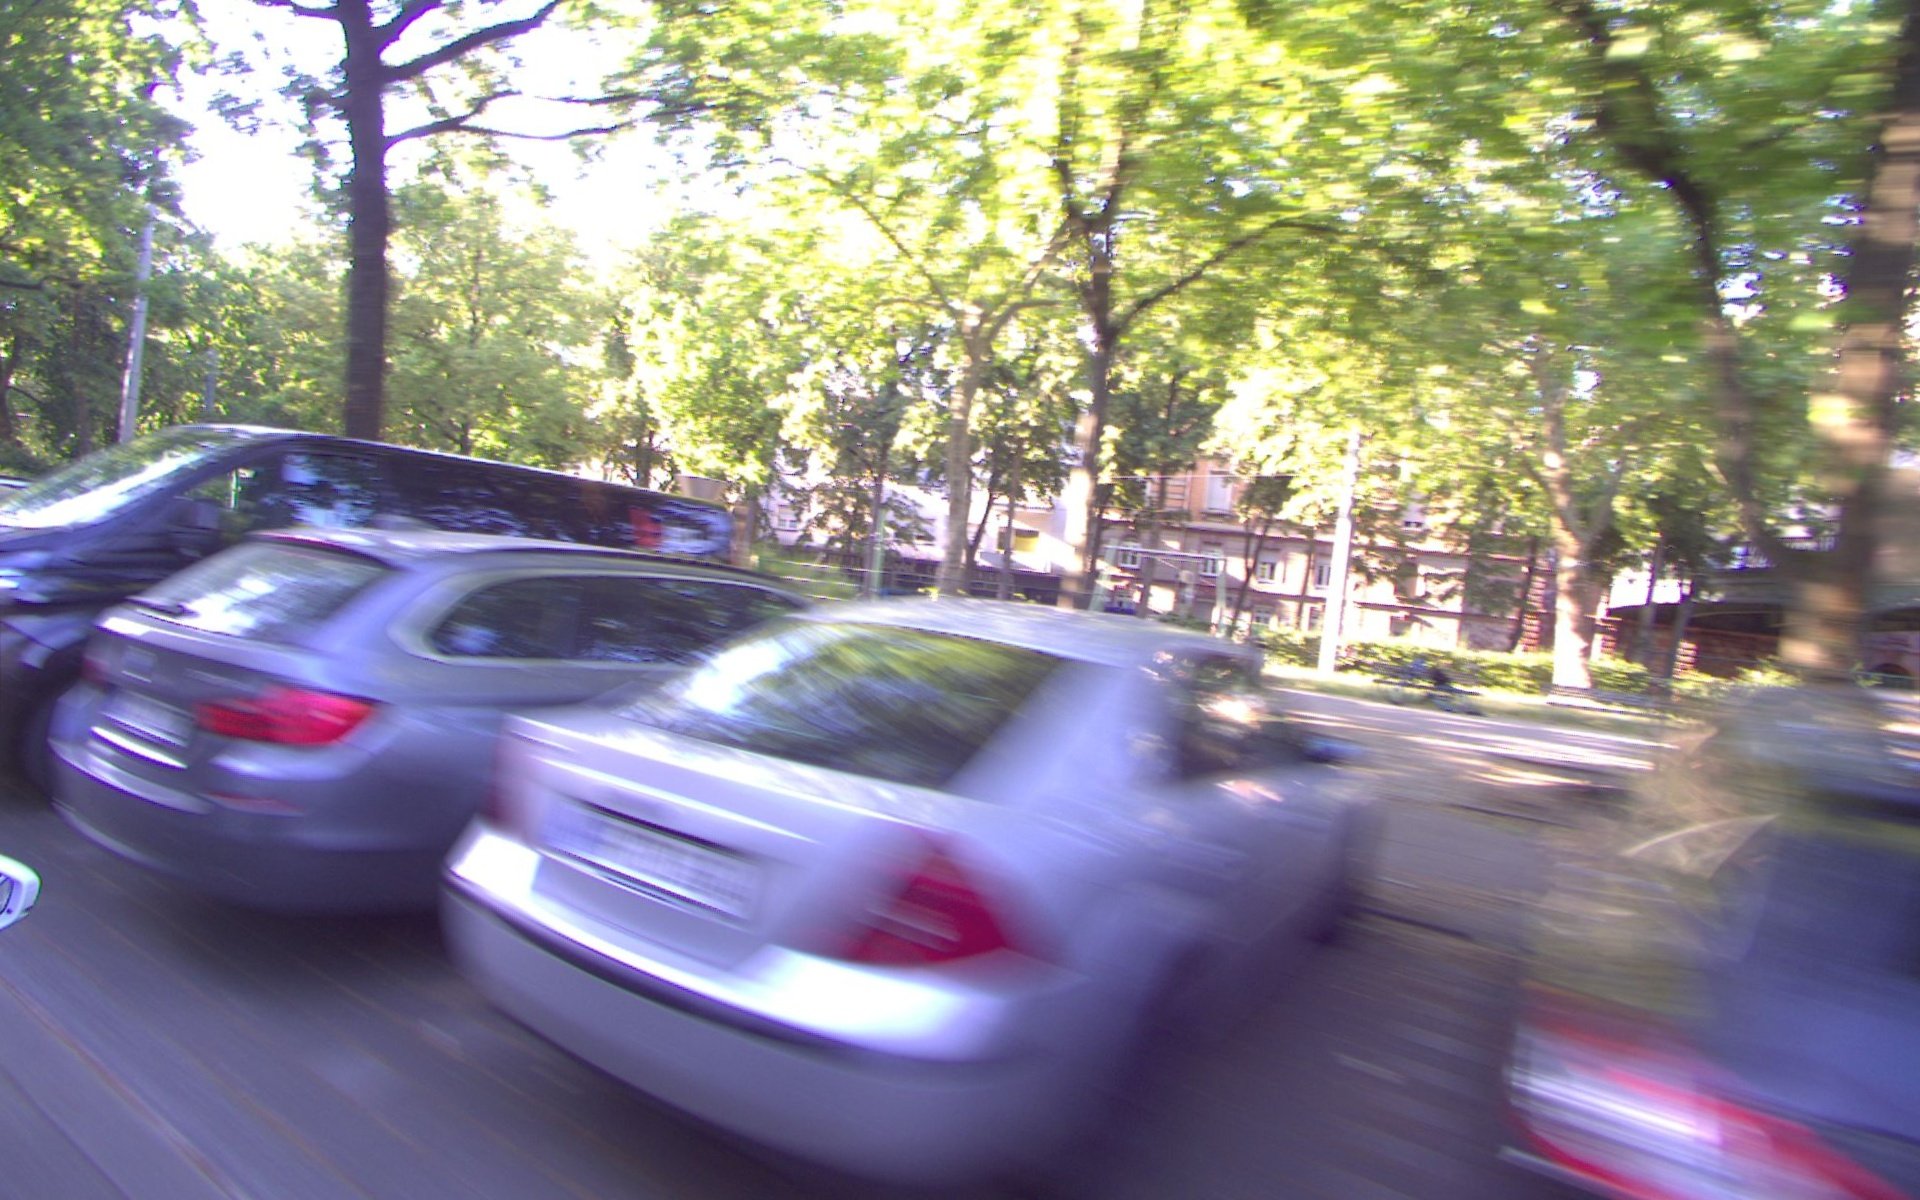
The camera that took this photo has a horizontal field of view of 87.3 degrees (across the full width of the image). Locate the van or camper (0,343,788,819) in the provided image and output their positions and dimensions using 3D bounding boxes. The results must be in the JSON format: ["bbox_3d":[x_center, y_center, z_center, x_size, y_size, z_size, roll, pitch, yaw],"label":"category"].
[{"bbox_3d":[-3.834,-0.053,6.573,1.997,2.053,5.414,8,1,34],"label":"van or camper"}]

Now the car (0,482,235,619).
[{"bbox_3d":[-11.630,-0.676,12.039,1.808,1.458,4.400,6,0,34],"label":"car"}]

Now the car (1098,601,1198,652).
[{"bbox_3d":[9.374,1.339,50.154,4.648,2.037,2.002,6,-1,12],"label":"car"}]

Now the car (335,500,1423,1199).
[{"bbox_3d":[0.416,0.730,3.824,1.638,1.597,4.400,5,0,34],"label":"car"}]

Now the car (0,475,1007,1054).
[{"bbox_3d":[-1.605,0.494,5.036,1.806,1.519,4.405,5,0,29],"label":"car"}]

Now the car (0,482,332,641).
[{"bbox_3d":[-9.582,-0.434,10.814,1.808,1.458,4.400,6,0,34],"label":"car"}]

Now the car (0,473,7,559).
[{"bbox_3d":[-19.896,-1.768,17.506,1.806,1.611,4.407,6,0,27],"label":"car"}]

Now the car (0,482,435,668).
[{"bbox_3d":[-7.638,-0.203,9.492,1.807,1.458,4.403,6,0,31],"label":"car"}]

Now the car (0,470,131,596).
[{"bbox_3d":[-14.037,-1.052,13.260,1.807,1.611,4.403,6,0,31],"label":"car"}]

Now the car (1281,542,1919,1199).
[{"bbox_3d":[2.418,0.898,2.685,1.639,1.597,4.396,5,0,37],"label":"car"}]

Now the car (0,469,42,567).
[{"bbox_3d":[-17.827,-1.563,16.005,1.808,1.611,4.401,6,0,33],"label":"car"}]
